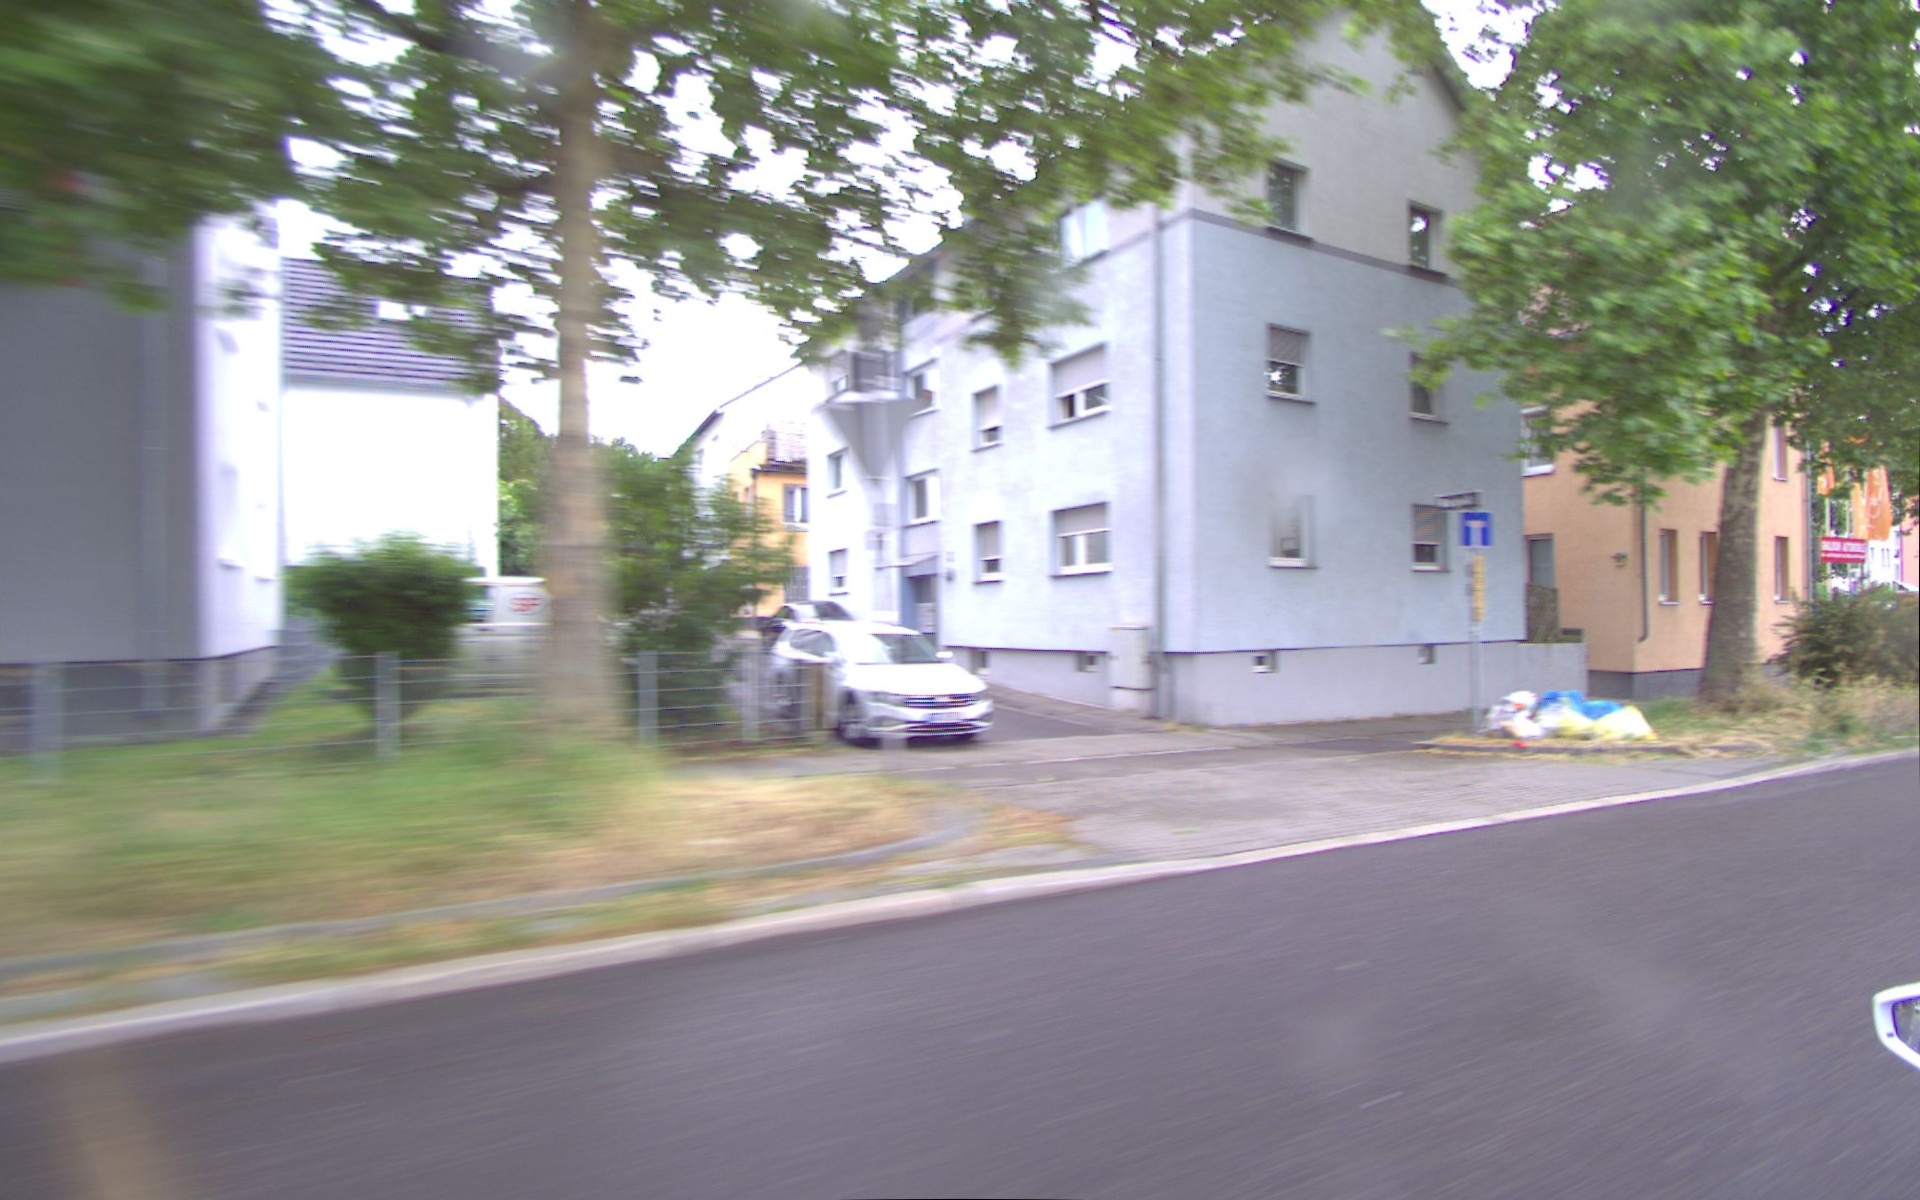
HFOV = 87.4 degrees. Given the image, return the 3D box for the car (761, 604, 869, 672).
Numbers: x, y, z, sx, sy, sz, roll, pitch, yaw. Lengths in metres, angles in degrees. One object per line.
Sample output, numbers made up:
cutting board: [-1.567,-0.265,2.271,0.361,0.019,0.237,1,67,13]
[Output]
car: [-3.662,0.887,25.026,1.598,1.481,3.143,-1,1,-30]

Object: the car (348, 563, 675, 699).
car: [-7.069,0.517,16.156,4.492,1.945,1.878,2,0,-26]

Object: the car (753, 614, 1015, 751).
car: [-1.279,1.031,14.263,1.848,1.496,4.640,2,0,-30]
